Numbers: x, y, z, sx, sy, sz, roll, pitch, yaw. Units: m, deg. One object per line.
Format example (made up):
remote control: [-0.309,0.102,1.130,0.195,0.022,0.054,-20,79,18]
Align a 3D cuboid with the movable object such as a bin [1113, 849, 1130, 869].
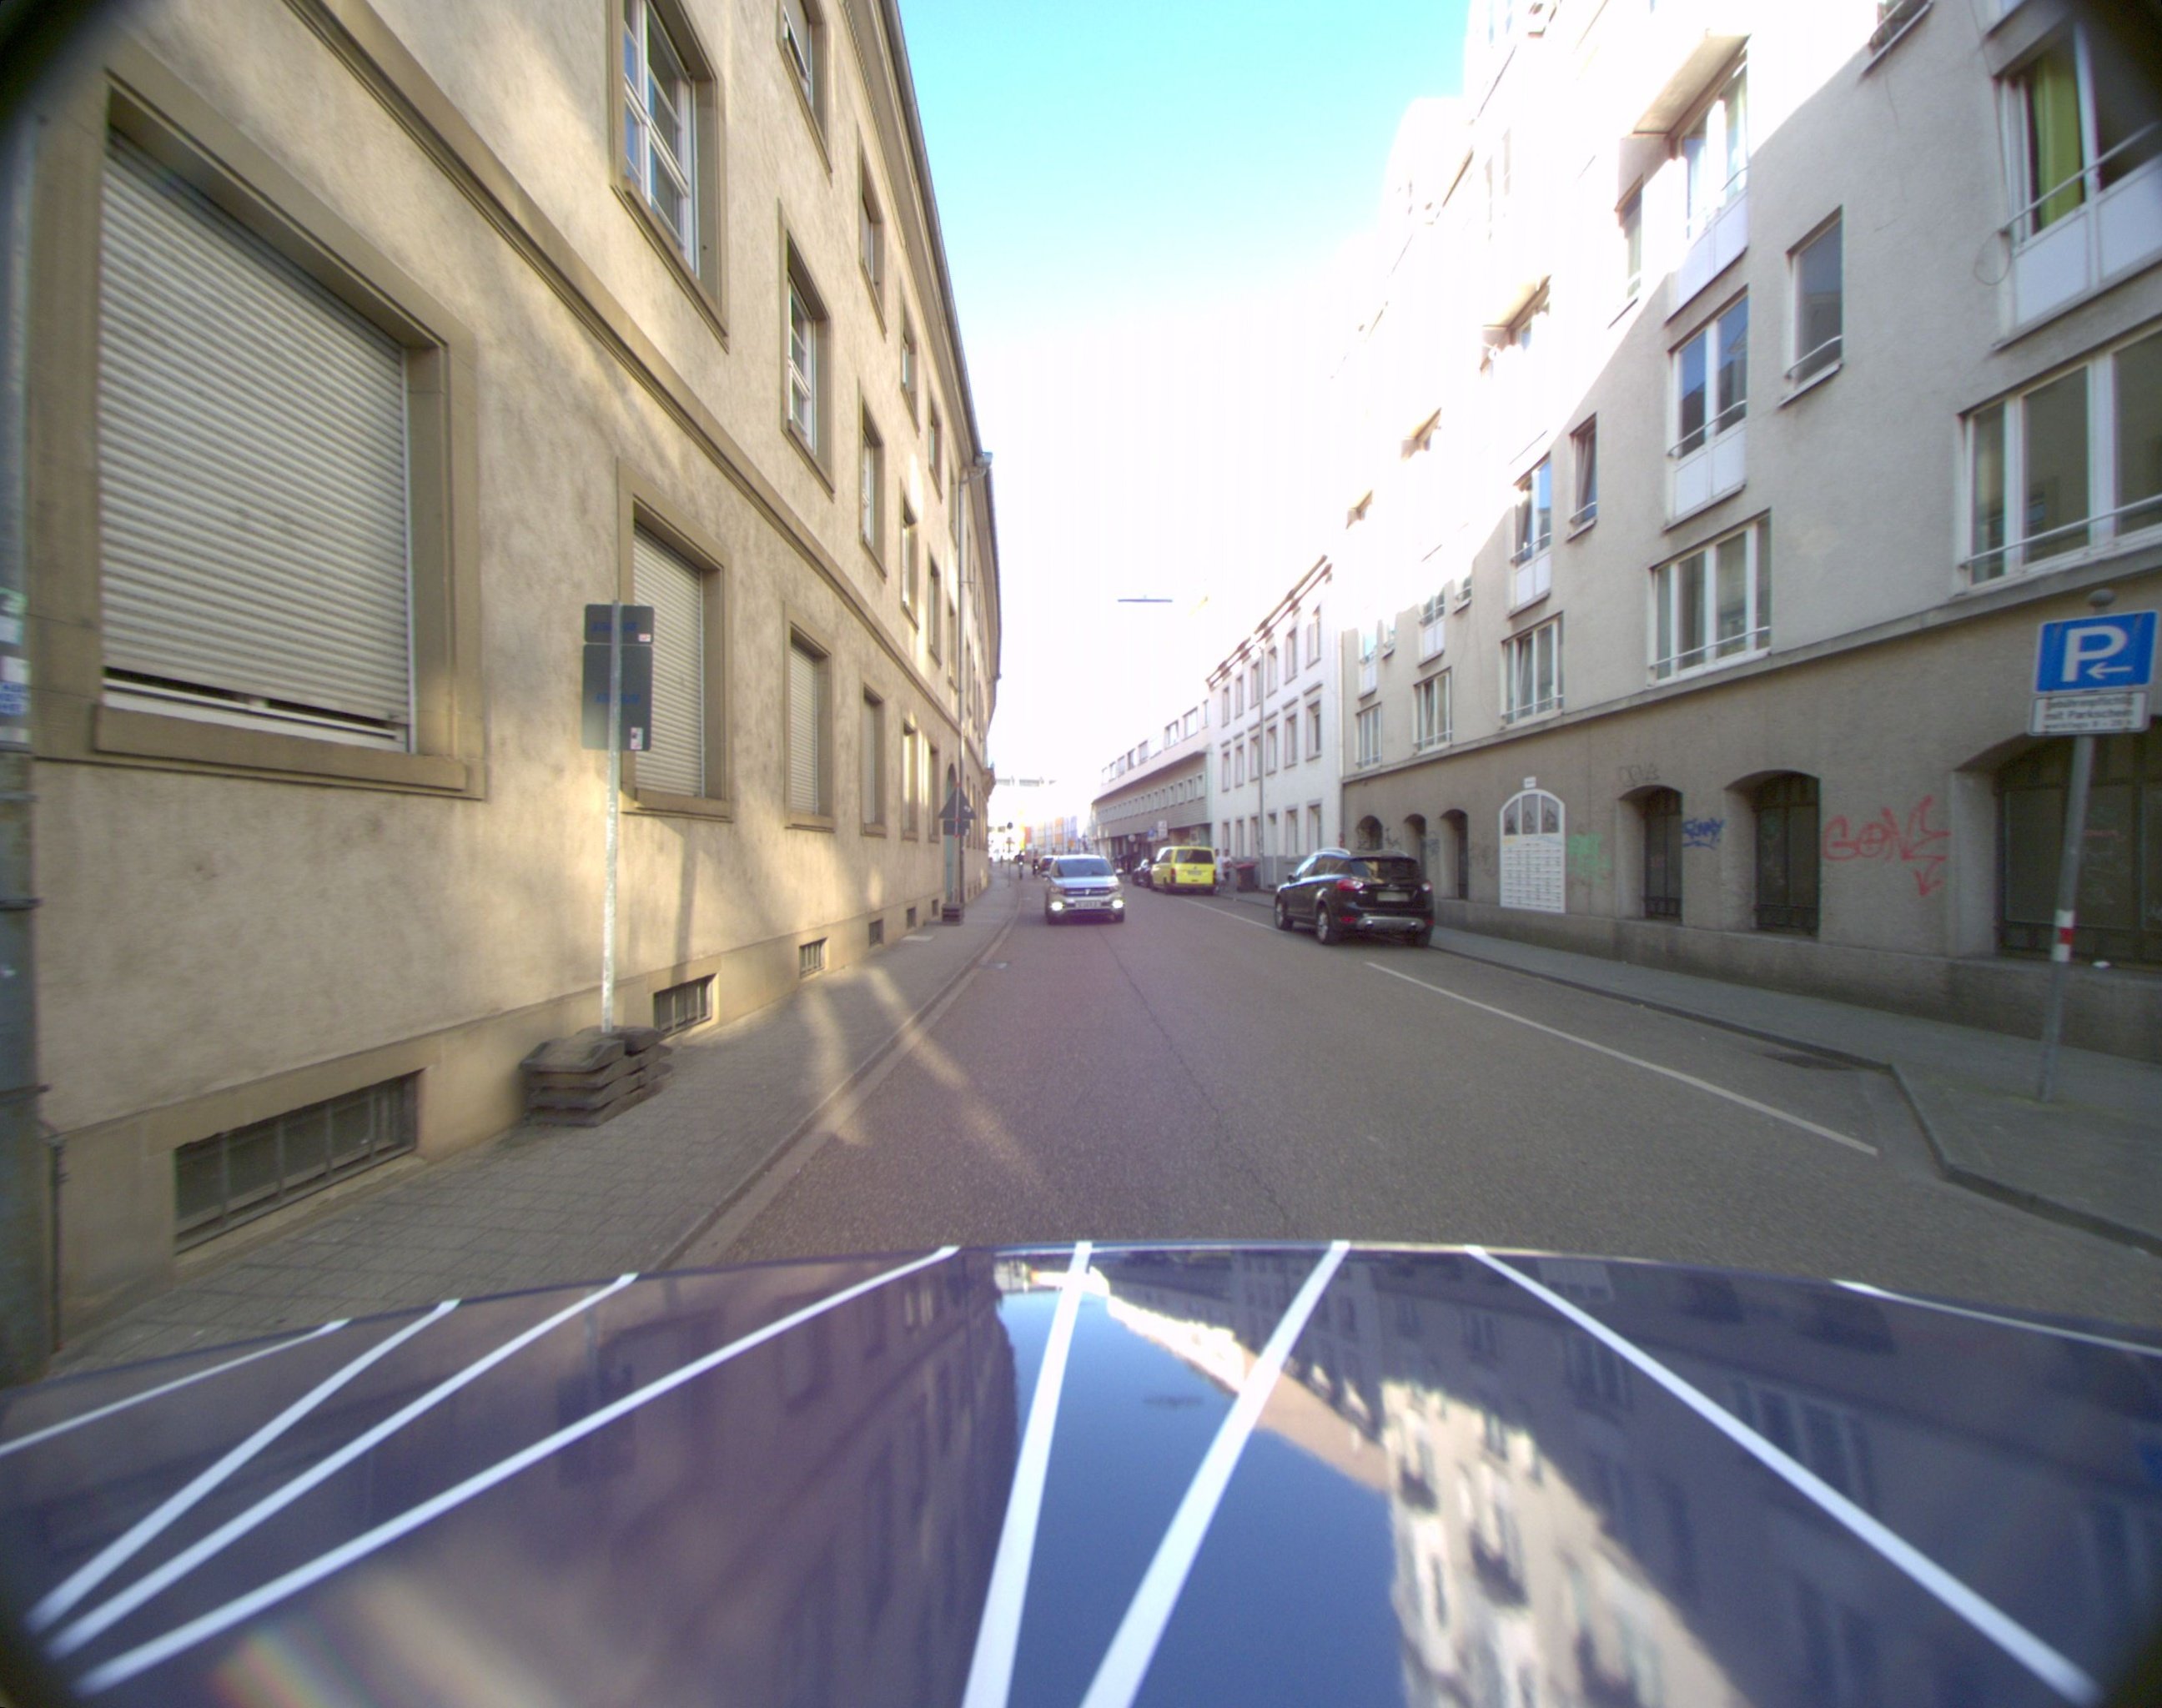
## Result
movable object such as a bin: [3.031,0.401,56.912,0.971,1.462,1.473,-1,-1,-8]

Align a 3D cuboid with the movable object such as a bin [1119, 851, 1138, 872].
movable object such as a bin: [3.440,0.537,54.868,1.126,1.511,1.341,-1,0,-8]

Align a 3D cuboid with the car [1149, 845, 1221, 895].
car: [4.160,0.600,31.147,1.885,1.856,4.861,2,0,-5]

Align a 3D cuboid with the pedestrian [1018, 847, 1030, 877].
pedestrian: [-3.726,0.536,49.409,0.678,1.928,0.857,-1,1,-9]

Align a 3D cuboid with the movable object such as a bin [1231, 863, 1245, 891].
movable object such as a bin: [6.128,0.889,29.686,0.411,1.098,0.433,0,1,-2]

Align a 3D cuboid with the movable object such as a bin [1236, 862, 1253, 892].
movable object such as a bin: [6.231,0.876,29.000,0.542,1.098,0.433,0,1,-3]

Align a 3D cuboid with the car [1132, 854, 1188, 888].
car: [3.725,0.783,36.586,1.825,1.477,4.074,2,0,-7]

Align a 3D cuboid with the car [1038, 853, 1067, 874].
car: [-2.268,0.690,59.661,1.720,1.569,4.186,-1,0,-9]

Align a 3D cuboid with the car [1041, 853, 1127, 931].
car: [-0.038,0.817,18.637,1.683,1.568,4.240,-4,1,-4]

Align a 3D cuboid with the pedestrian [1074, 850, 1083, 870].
pedestrian: [-0.178,0.497,63.130,0.494,1.660,0.626,-3,1,-21]

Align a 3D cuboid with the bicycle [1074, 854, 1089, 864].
bicycle: [0.106,0.606,92.370,1.740,1.094,0.388,-5,1,-16]

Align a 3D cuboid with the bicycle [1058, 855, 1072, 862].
bicycle: [-2.173,0.608,104.630,1.804,0.941,0.388,-4,1,-9]

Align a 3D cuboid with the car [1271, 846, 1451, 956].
car: [5.013,0.756,14.282,1.744,1.701,4.190,2,0,-1]

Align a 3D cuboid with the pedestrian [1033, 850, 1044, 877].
pedestrian: [-2.777,0.622,49.794,0.603,1.770,0.651,-1,1,-9]
